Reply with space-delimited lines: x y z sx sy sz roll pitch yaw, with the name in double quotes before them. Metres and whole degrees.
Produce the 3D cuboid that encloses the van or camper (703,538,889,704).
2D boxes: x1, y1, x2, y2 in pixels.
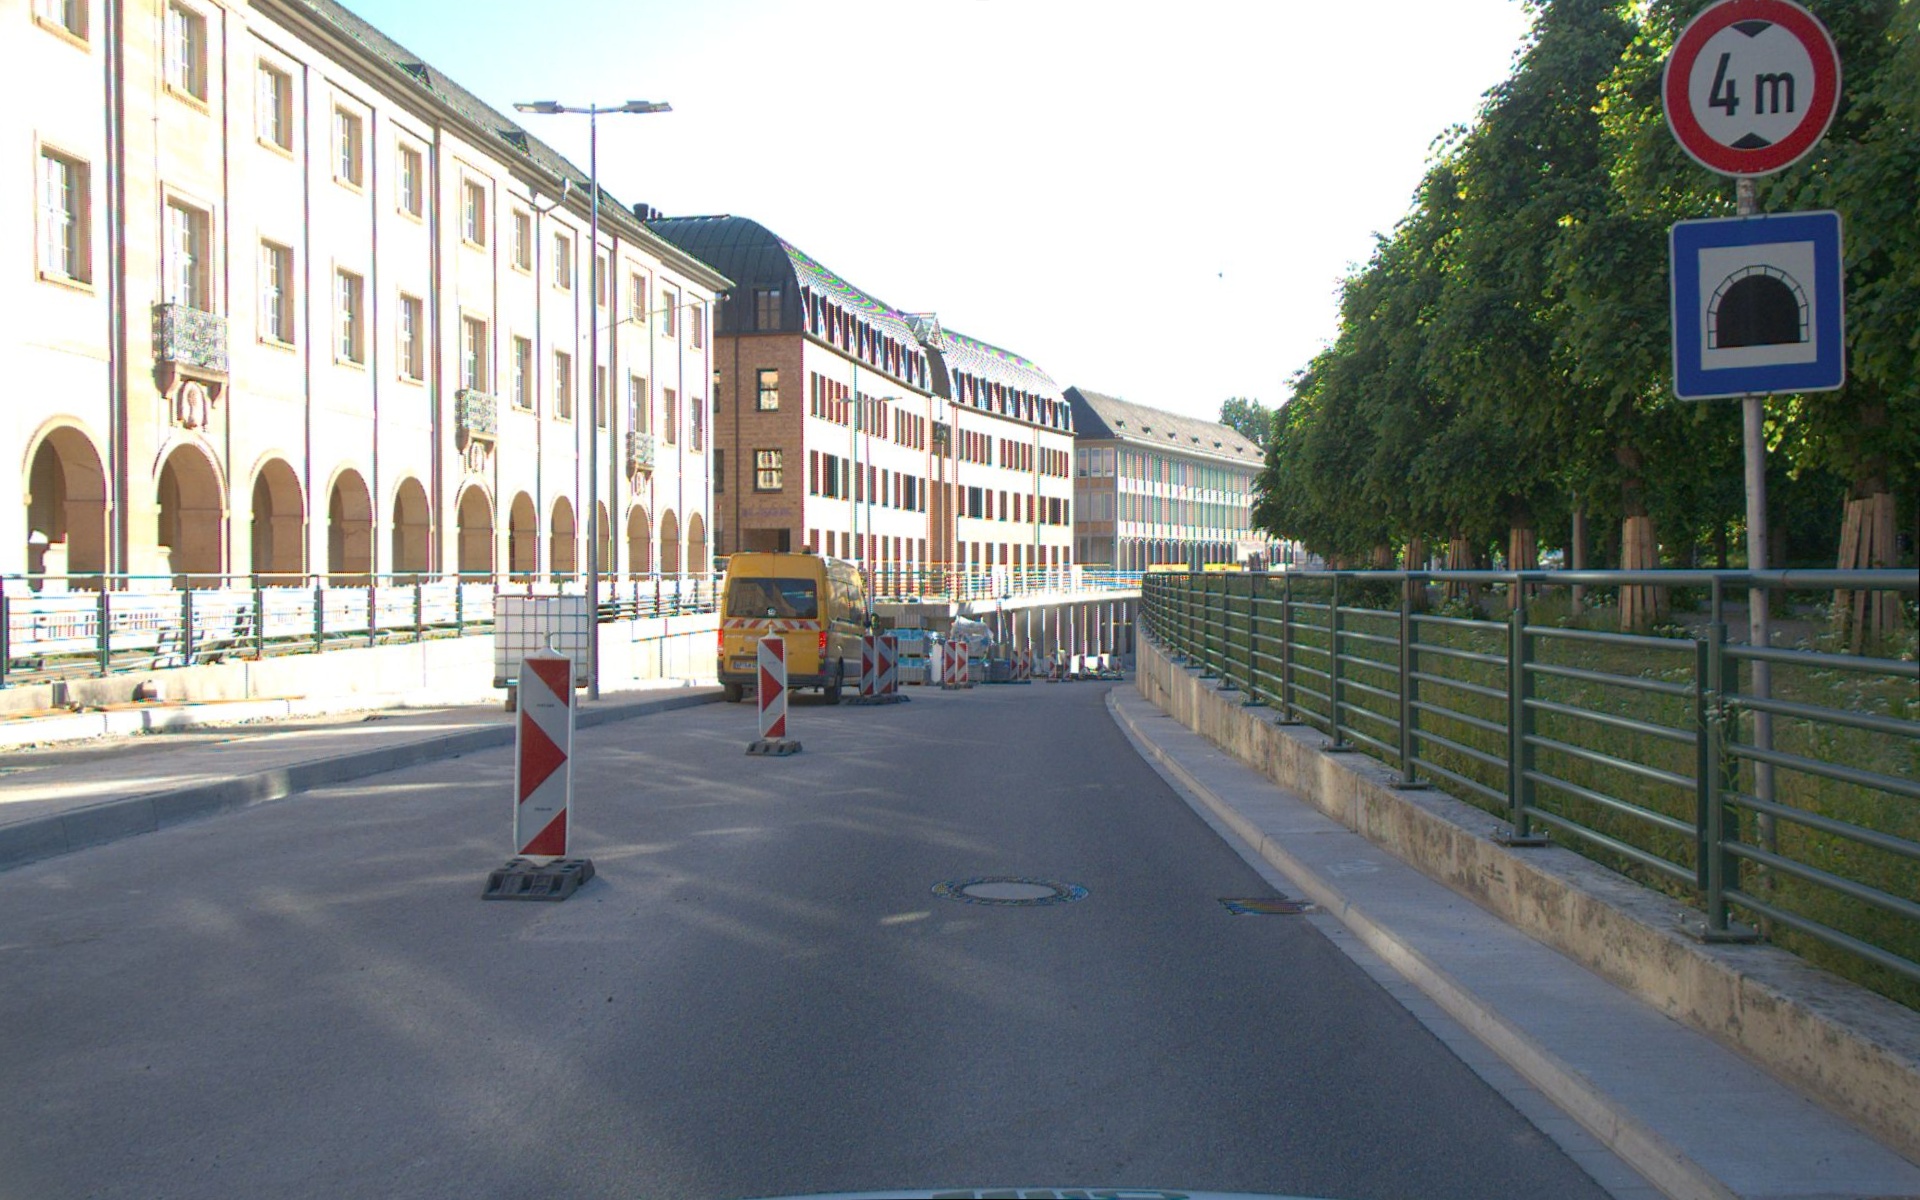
"van or camper" -2.854 0.435 30.642 2.147 2.658 6.827 2 -1 5
